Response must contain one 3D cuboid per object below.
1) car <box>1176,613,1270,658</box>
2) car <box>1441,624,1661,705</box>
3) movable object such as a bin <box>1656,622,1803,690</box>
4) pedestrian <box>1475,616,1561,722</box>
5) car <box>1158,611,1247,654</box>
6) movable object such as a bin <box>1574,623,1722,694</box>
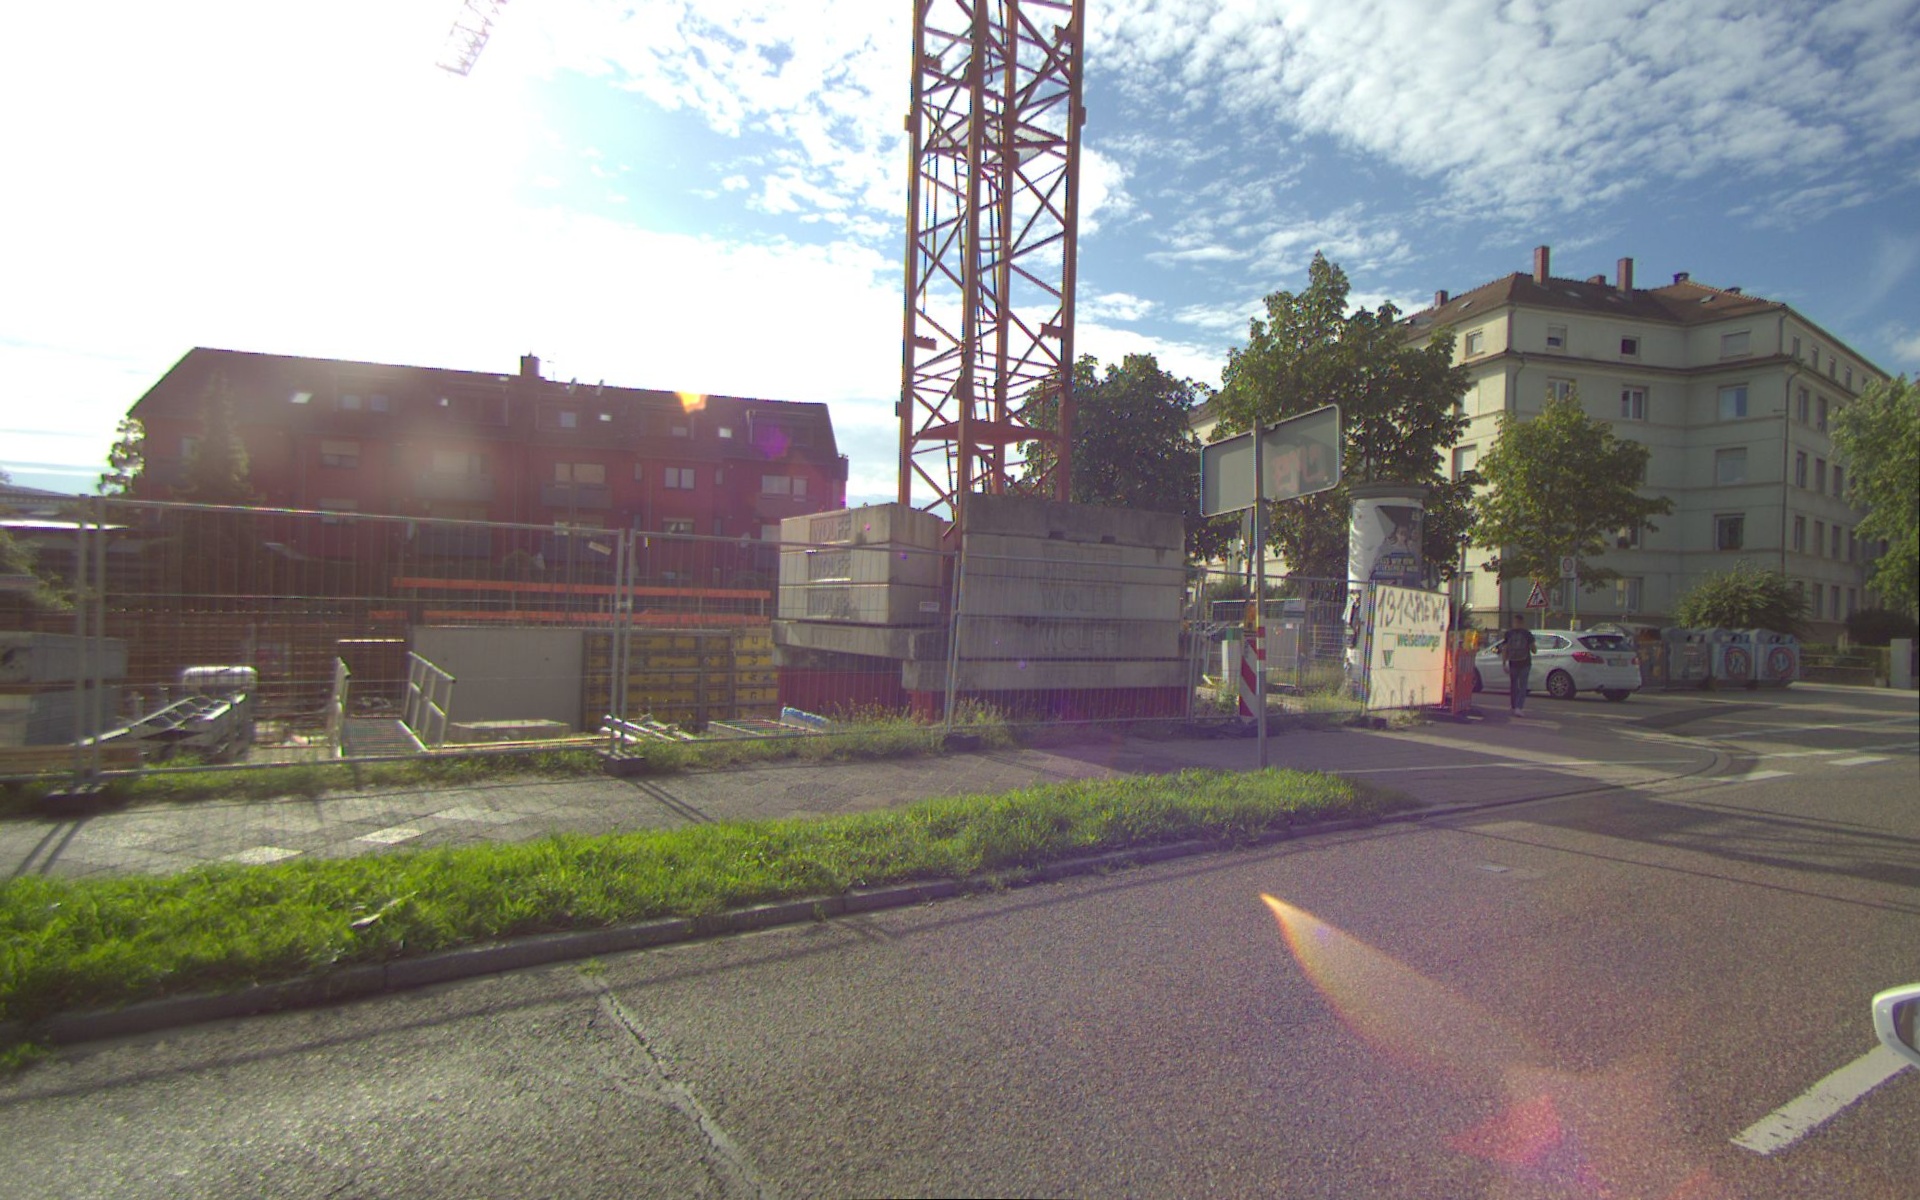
[{"bbox_3d":[12.626,1.680,48.271,3.937,2.040,1.992,2,-1,-18],"label":"car"},{"bbox_3d":[13.906,1.462,23.950,1.969,1.575,4.256,3,0,-18],"label":"car"},{"bbox_3d":[22.044,1.564,28.890,1.388,1.730,3.100,1,0,-19],"label":"movable object such as a bin"},{"bbox_3d":[9.810,1.188,17.654,1.171,1.751,0.996,4,-1,-45],"label":"pedestrian"},{"bbox_3d":[12.275,1.646,50.878,3.937,2.040,1.992,2,-1,-18],"label":"car"},{"bbox_3d":[19.152,1.595,28.088,1.523,1.730,3.101,3,0,-18],"label":"movable object such as a bin"}]
